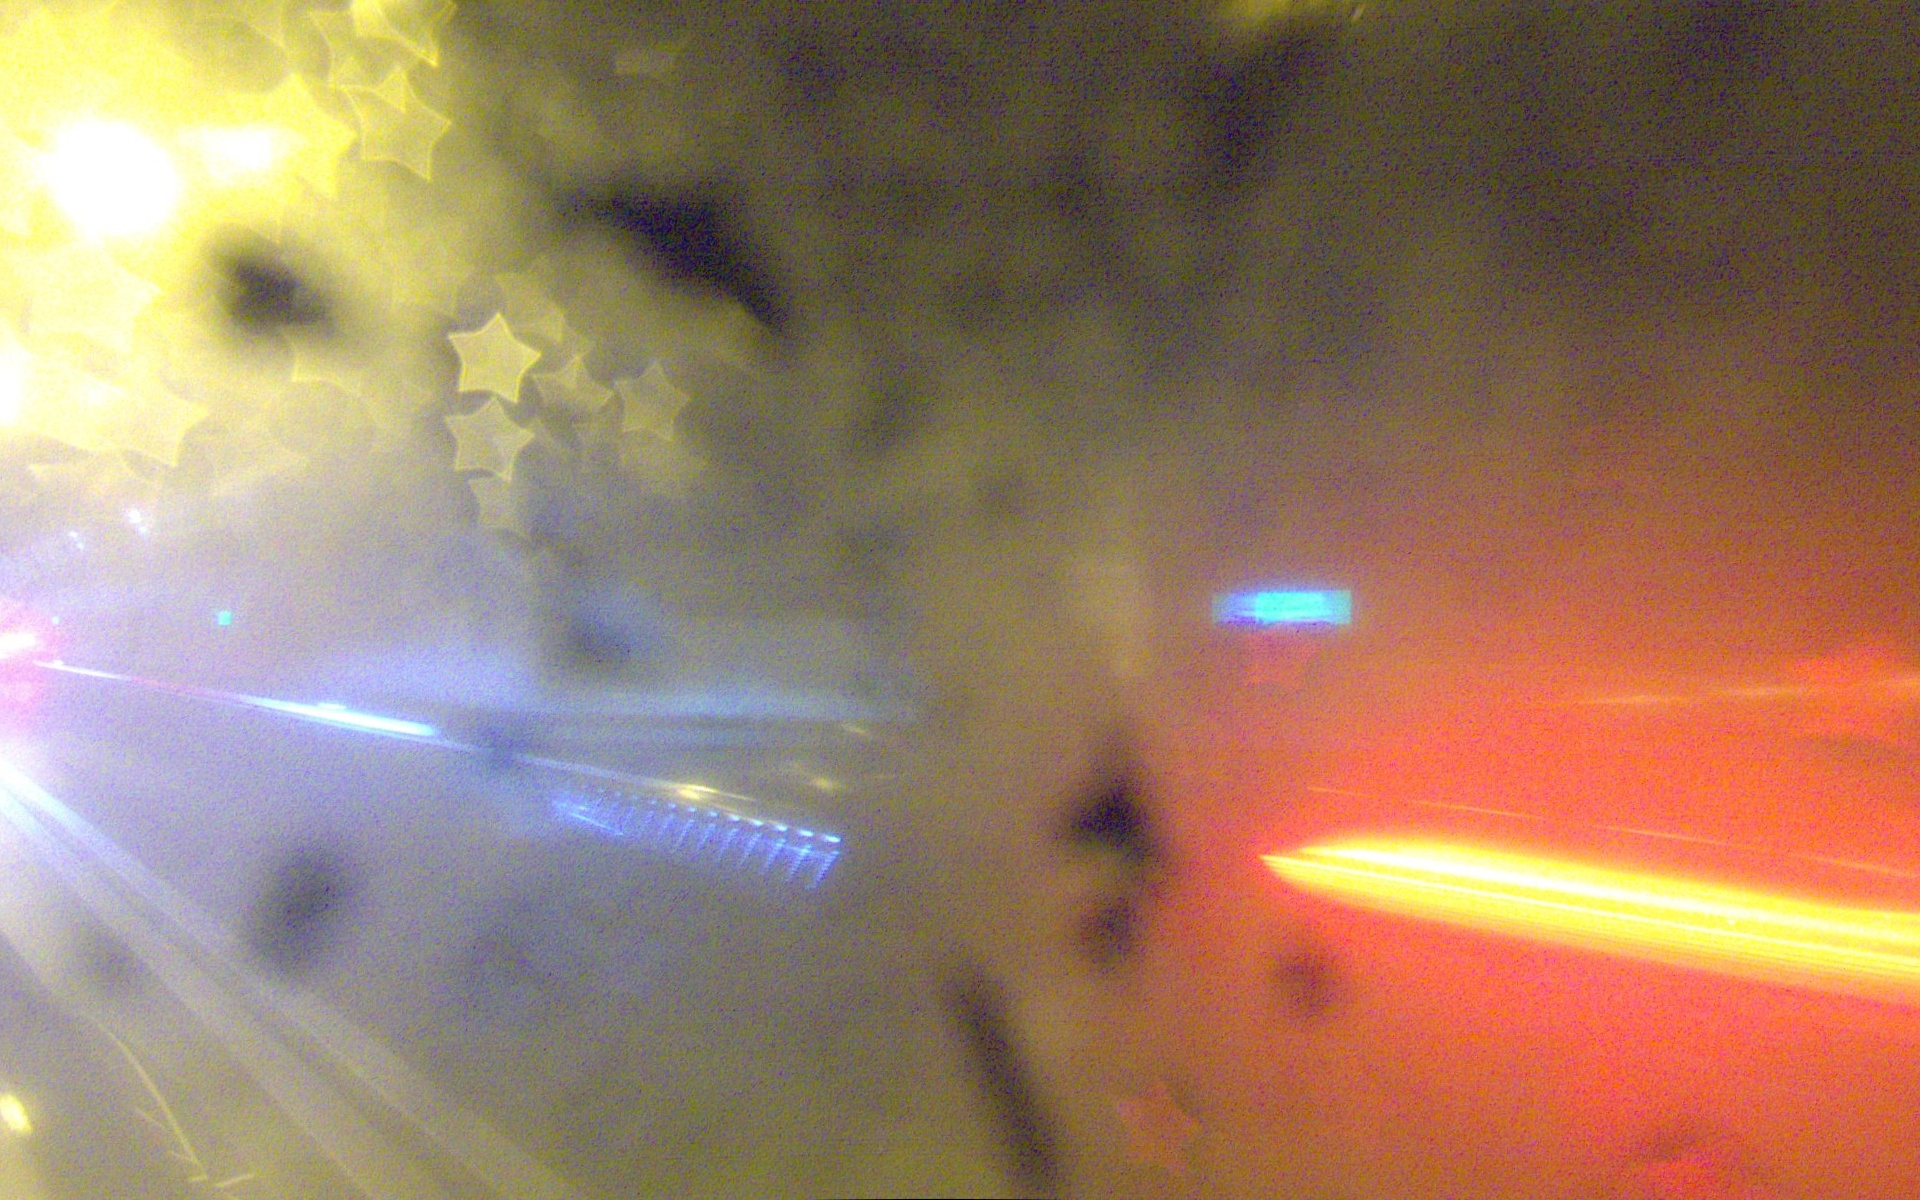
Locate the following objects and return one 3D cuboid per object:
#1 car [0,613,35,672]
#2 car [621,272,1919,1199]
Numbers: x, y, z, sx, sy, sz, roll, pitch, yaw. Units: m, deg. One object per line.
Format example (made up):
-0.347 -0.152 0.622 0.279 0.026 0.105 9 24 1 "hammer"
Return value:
-26.338 1.149 27.237 3.886 1.492 1.741 -1 0 42 "car"
0.894 0.468 2.770 3.930 1.805 1.711 0 1 41 "car"
